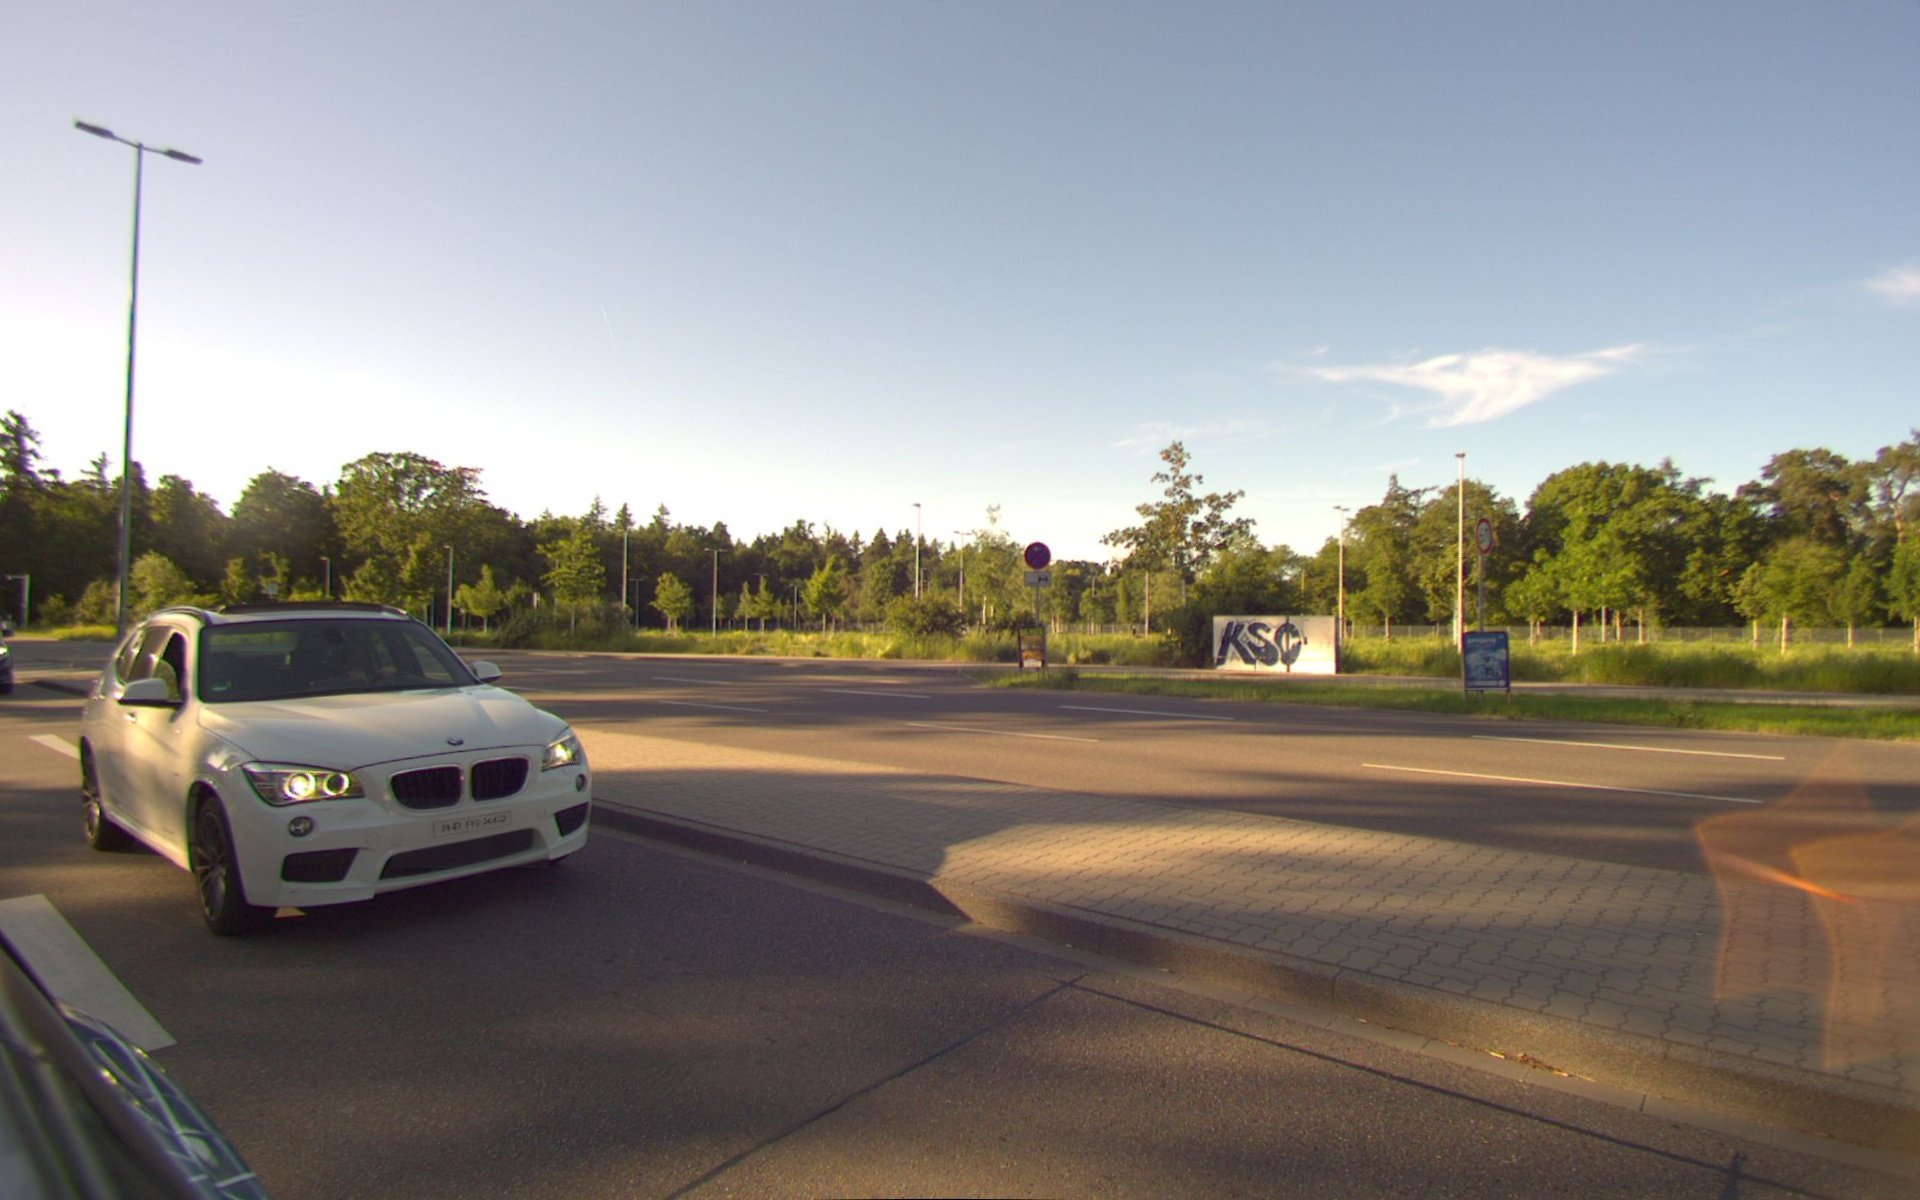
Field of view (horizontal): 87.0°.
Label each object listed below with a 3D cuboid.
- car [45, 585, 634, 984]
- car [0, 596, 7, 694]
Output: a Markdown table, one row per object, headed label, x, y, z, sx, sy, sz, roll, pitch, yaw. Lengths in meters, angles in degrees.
| label | x | y | z | sx | sy | sz | roll | pitch | yaw |
| --- | --- | --- | --- | --- | --- | --- | --- | --- | --- |
| car | -3.971 | 0.739 | 6.120 | 4.430 | 1.592 | 1.701 | 0 | 0 | 40 |
| car | -20.739 | 0.934 | 20.306 | 4.871 | 1.870 | 1.887 | -2 | -1 | 41 |
